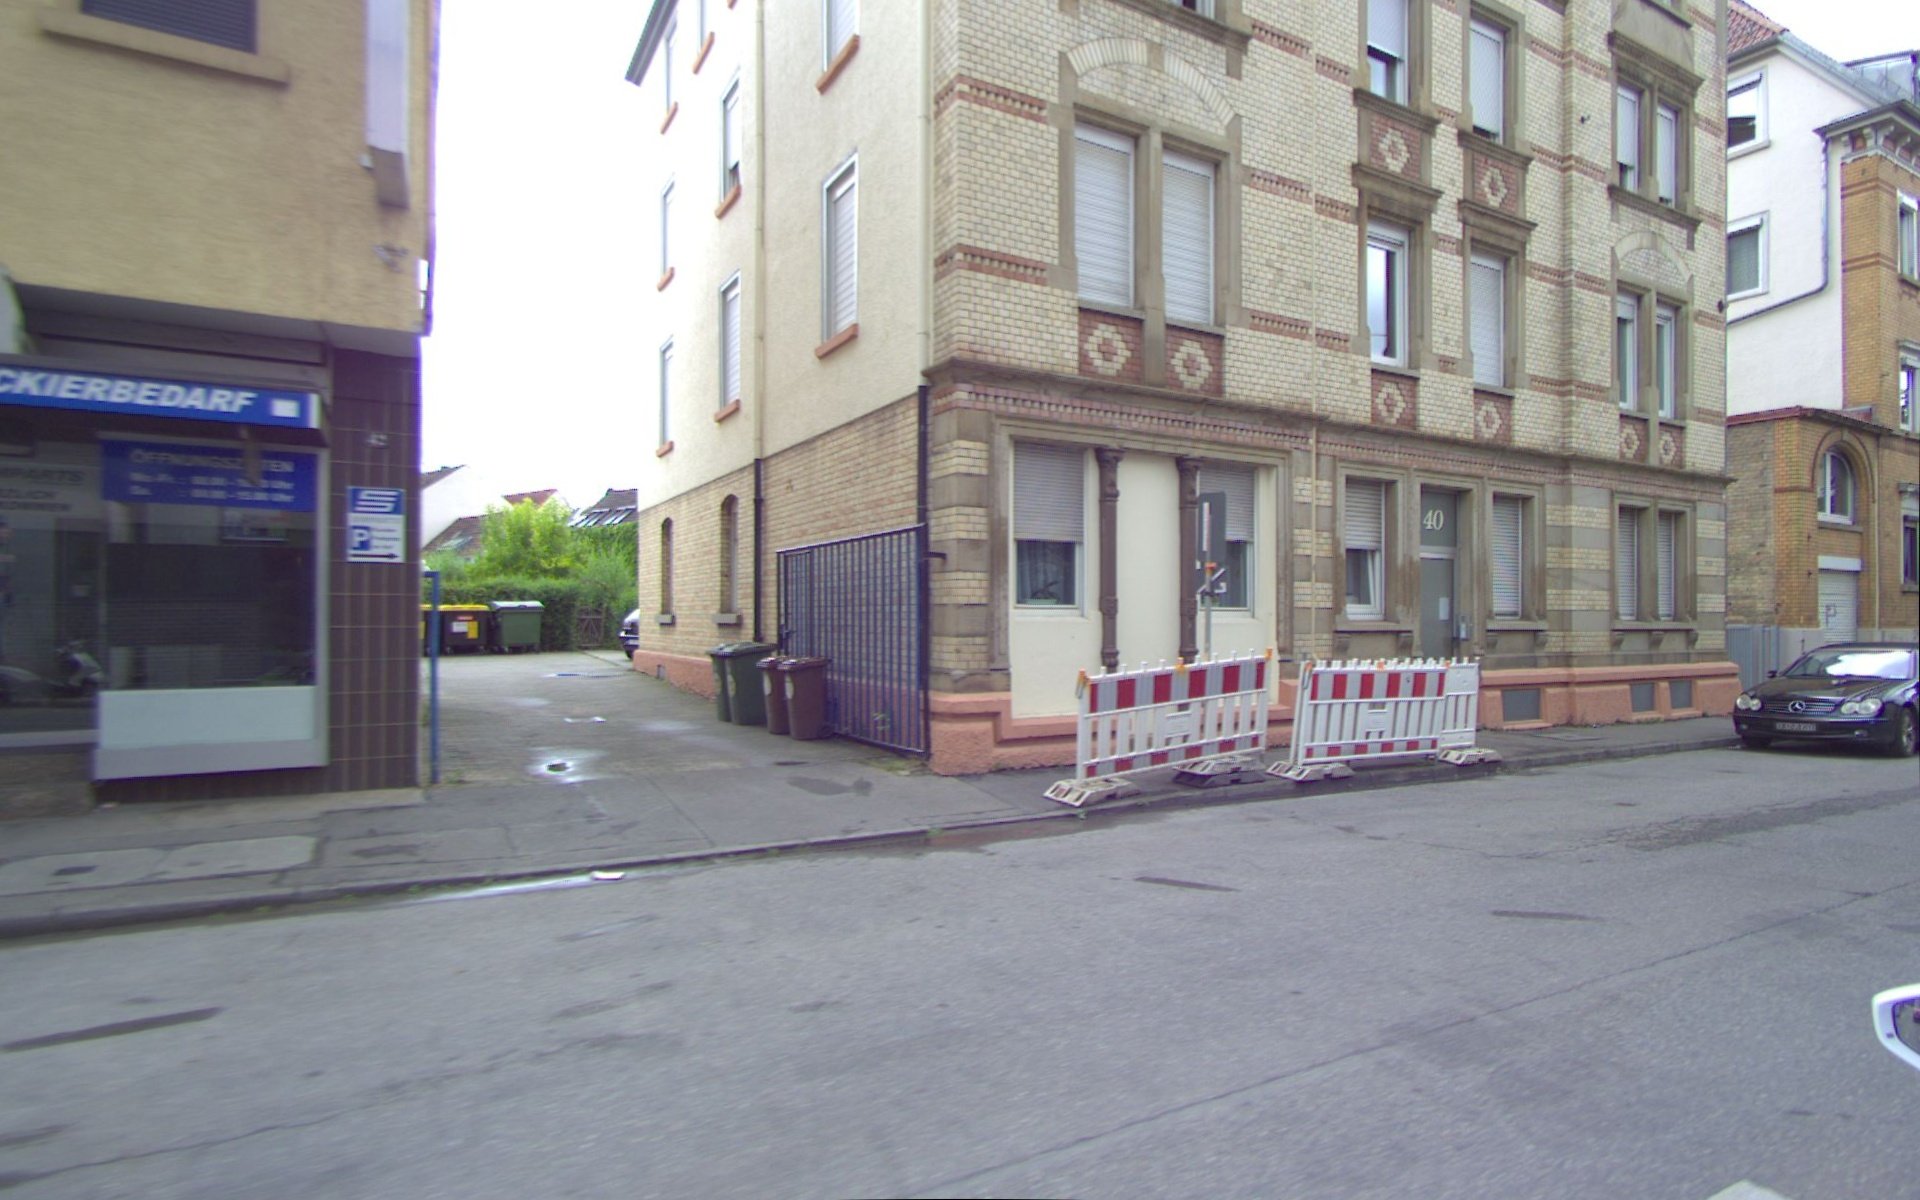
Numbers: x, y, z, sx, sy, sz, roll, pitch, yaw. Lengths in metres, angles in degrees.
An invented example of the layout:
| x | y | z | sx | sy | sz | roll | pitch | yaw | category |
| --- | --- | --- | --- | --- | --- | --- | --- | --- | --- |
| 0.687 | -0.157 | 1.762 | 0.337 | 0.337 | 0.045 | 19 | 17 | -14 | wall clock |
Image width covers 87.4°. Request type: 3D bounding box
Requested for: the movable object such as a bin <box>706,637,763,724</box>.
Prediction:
| x | y | z | sx | sy | sz | roll | pitch | yaw | category |
| --- | --- | --- | --- | --- | --- | --- | --- | --- | --- |
| -3.182 | 1.120 | 14.168 | 0.653 | 1.172 | 0.584 | 1 | 0 | -28 | movable object such as a bin |

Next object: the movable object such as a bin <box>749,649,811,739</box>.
| x | y | z | sx | sy | sz | roll | pitch | yaw | category |
| --- | --- | --- | --- | --- | --- | --- | --- | --- | --- |
| -2.212 | 1.137 | 12.314 | 0.605 | 1.049 | 0.590 | 1 | -1 | -27 | movable object such as a bin |

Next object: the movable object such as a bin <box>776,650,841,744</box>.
| x | y | z | sx | sy | sz | roll | pitch | yaw | category |
| --- | --- | --- | --- | --- | --- | --- | --- | --- | --- |
| -1.771 | 1.116 | 11.739 | 0.605 | 1.049 | 0.590 | 1 | -3 | -27 | movable object such as a bin |

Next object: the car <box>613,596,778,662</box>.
| x | y | z | sx | sy | sz | roll | pitch | yaw | category |
| --- | --- | --- | --- | --- | --- | --- | --- | --- | --- |
| -6.991 | 0.759 | 26.550 | 3.947 | 1.639 | 1.770 | 1 | -1 | -26 | car |

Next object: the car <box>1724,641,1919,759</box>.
| x | y | z | sx | sy | sz | roll | pitch | yaw | category |
| --- | --- | --- | --- | --- | --- | --- | --- | --- | --- |
| 12.384 | 1.258 | 13.696 | 4.302 | 1.401 | 1.572 | 1 | -3 | -30 | car |

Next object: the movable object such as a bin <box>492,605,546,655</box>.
| x | y | z | sx | sy | sz | roll | pitch | yaw | category |
| --- | --- | --- | --- | --- | --- | --- | --- | --- | --- |
| -12.242 | 0.824 | 27.908 | 0.723 | 1.353 | 1.186 | 0 | -1 | 43 | movable object such as a bin |

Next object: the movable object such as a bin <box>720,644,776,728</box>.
| x | y | z | sx | sy | sz | roll | pitch | yaw | category |
| --- | --- | --- | --- | --- | --- | --- | --- | --- | --- |
| -2.886 | 1.157 | 13.637 | 0.605 | 1.087 | 0.586 | 1 | -1 | -27 | movable object such as a bin |

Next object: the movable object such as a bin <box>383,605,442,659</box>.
| x | y | z | sx | sy | sz | roll | pitch | yaw | category |
| --- | --- | --- | --- | --- | --- | --- | --- | --- | --- |
| -14.125 | 0.819 | 25.917 | 0.723 | 1.353 | 1.157 | 0 | -1 | 43 | movable object such as a bin |

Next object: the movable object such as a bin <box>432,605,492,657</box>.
| x | y | z | sx | sy | sz | roll | pitch | yaw | category |
| --- | --- | --- | --- | --- | --- | --- | --- | --- | --- |
| -13.291 | 0.809 | 26.824 | 0.723 | 1.353 | 1.250 | 0 | -1 | 43 | movable object such as a bin |

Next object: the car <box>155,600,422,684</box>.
| x | y | z | sx | sy | sz | roll | pitch | yaw | category |
| --- | --- | --- | --- | --- | --- | --- | --- | --- | --- |
| -12.629 | 0.778 | 19.222 | 3.944 | 1.483 | 1.793 | 1 | -1 | -24 | car |
